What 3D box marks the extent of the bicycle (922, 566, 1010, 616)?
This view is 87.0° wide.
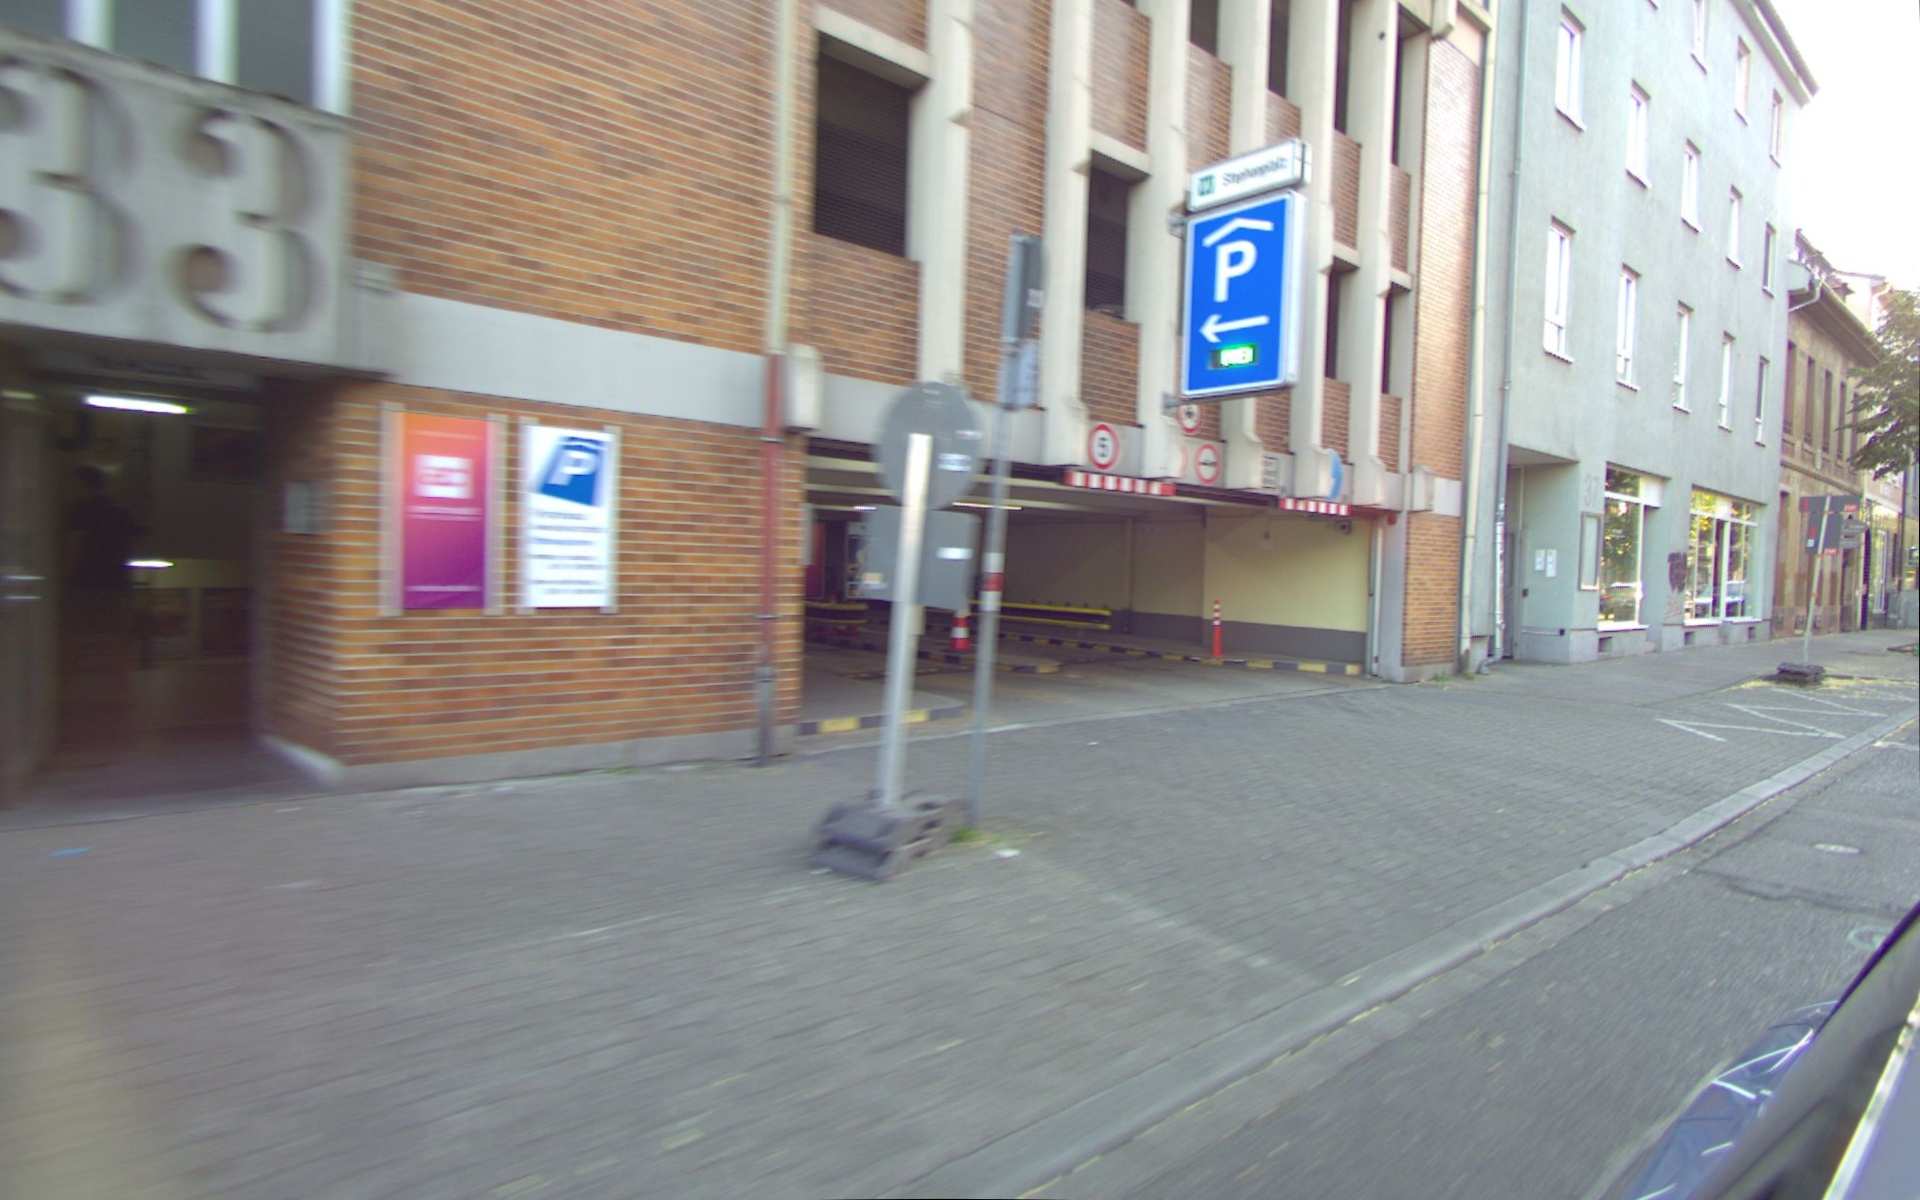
[{"bbox_3d":[0.087,-0.208,21.080,0.327,0.936,2.351,0,3,-41],"label":"bicycle"}]
